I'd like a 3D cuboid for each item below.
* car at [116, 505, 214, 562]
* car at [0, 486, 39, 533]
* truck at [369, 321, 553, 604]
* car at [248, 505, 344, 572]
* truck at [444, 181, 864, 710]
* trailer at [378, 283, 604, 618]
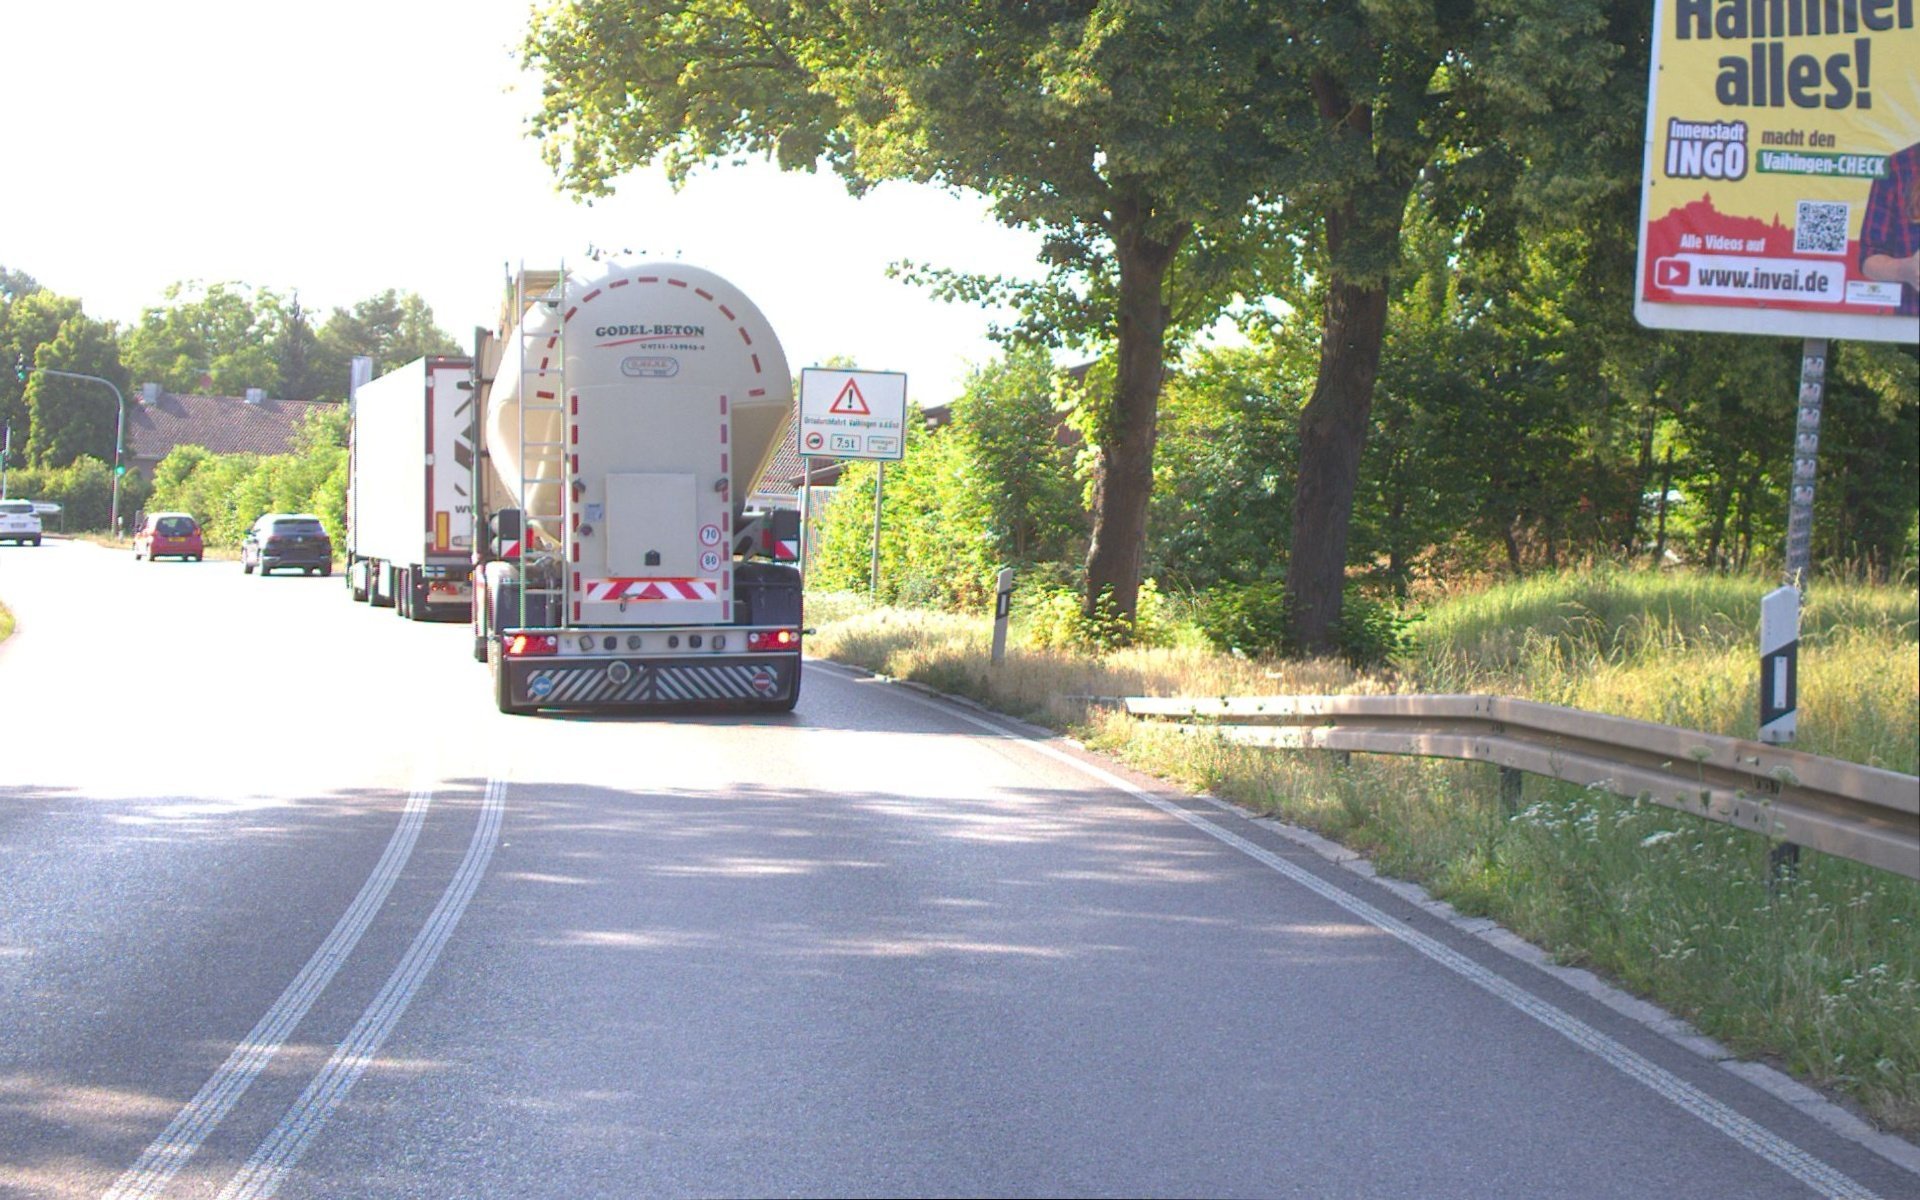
[{"bbox_3d":[-24.130,-2.004,104.250,2.299,1.650,4.416,0,1,-21],"label":"car"},{"bbox_3d":[-34.685,-3.275,124.800,1.841,1.650,4.001,0,1,-24],"label":"car"},{"bbox_3d":[-9.216,-2.420,62.952,2.962,4.869,6.432,1,1,-11],"label":"truck"},{"bbox_3d":[-16.946,-1.563,87.579,1.993,1.650,4.001,1,1,-17],"label":"car"},{"bbox_3d":[-3.283,-1.295,33.130,2.975,4.161,11.666,1,1,-10],"label":"truck"},{"bbox_3d":[-7.739,-2.258,55.583,2.963,4.865,10.291,1,1,-11],"label":"trailer"}]
